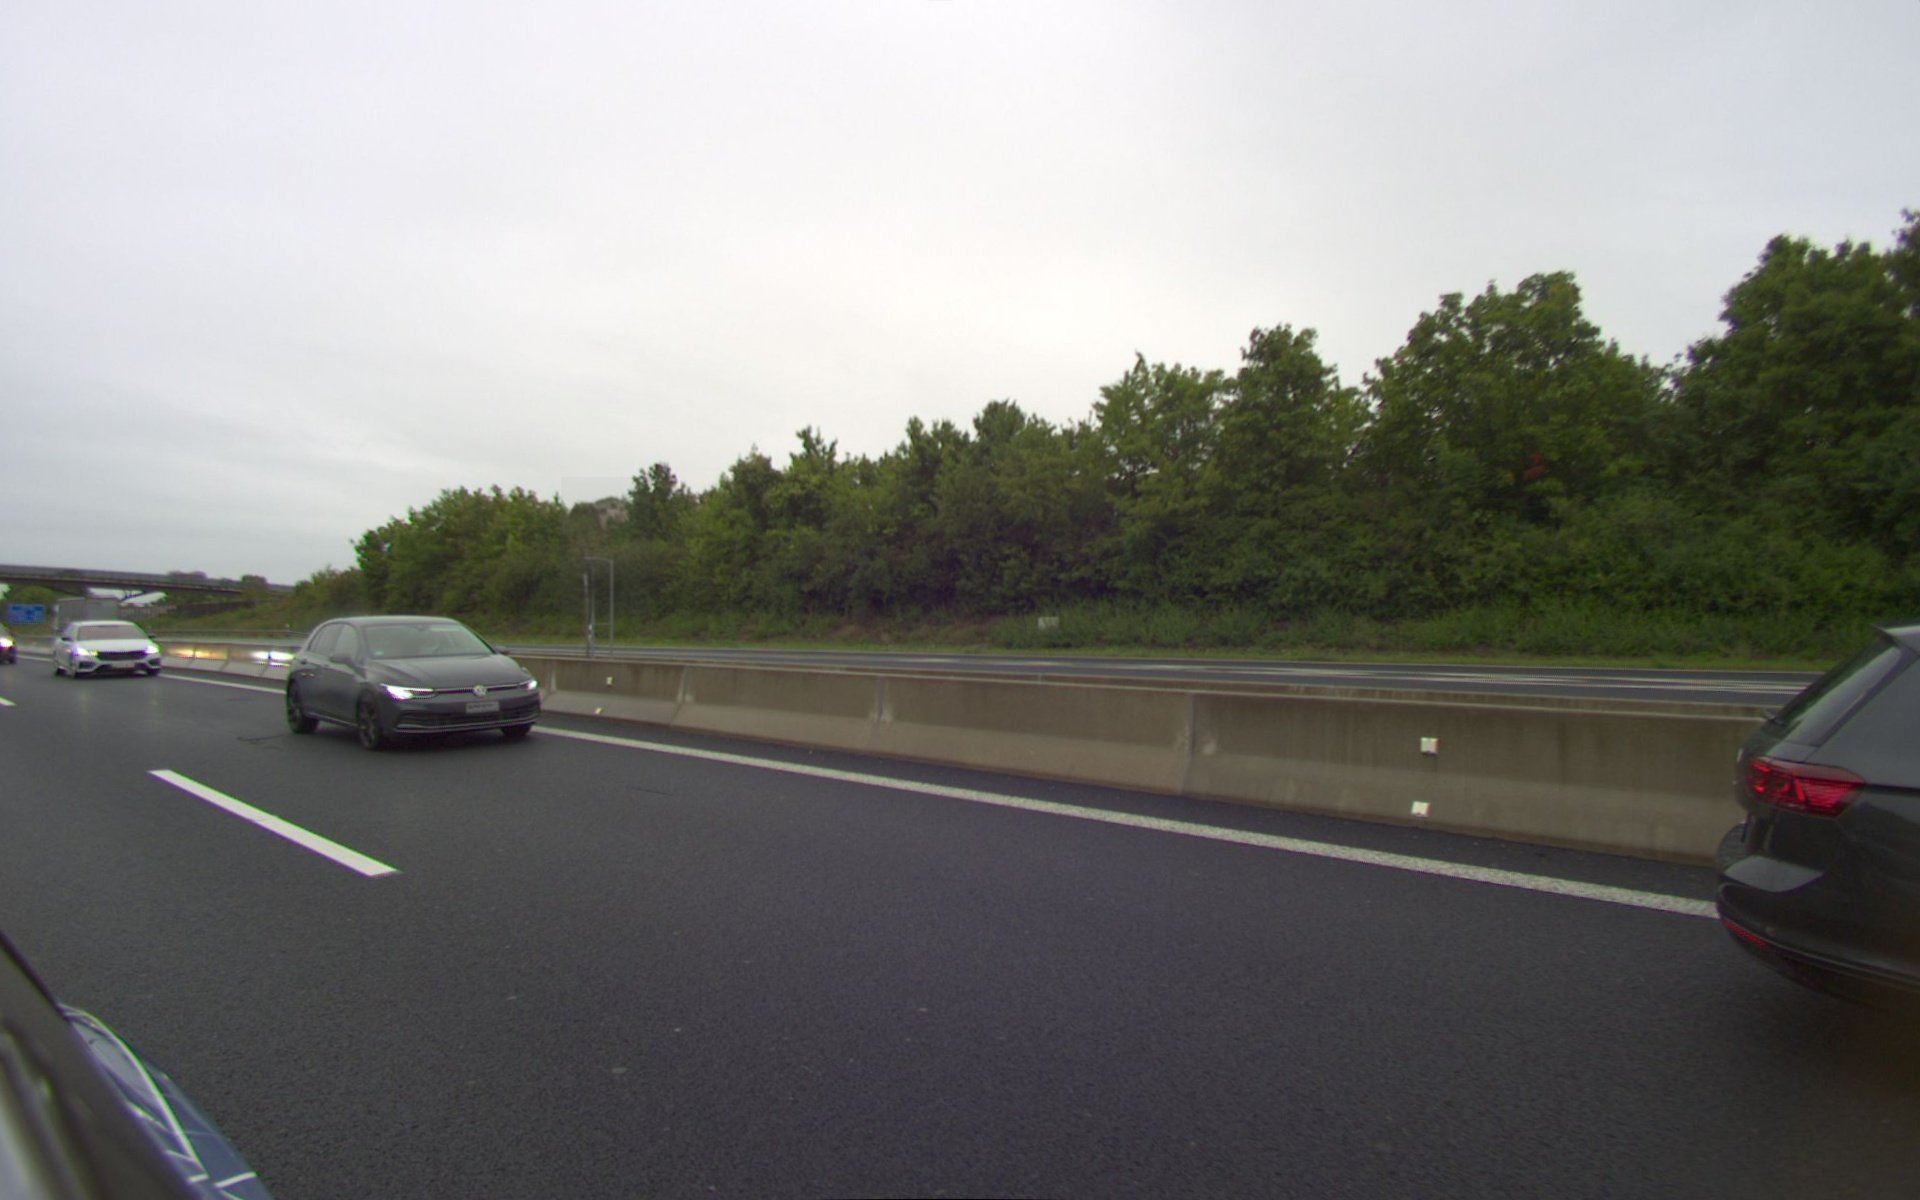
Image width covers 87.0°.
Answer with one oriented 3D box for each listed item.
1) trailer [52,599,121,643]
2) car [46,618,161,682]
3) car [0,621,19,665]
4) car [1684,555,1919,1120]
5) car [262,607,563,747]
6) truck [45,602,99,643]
[{"bbox_3d":[-86.639,2.151,100.268,13.836,4.114,3.226,-2,-1,41],"label":"trailer"},{"bbox_3d":[-22.564,1.265,26.619,4.115,1.518,1.879,-2,-1,44],"label":"car"},{"bbox_3d":[-34.865,1.529,35.844,4.112,1.518,1.880,-1,-1,41],"label":"car"},{"bbox_3d":[4.619,0.603,2.151,4.849,1.508,1.881,-1,-1,41],"label":"car"},{"bbox_3d":[-6.836,0.826,12.417,4.458,1.416,1.880,-1,-1,42],"label":"car"},{"bbox_3d":[-92.514,2.307,105.347,7.436,4.114,3.226,-2,-1,41],"label":"truck"}]
